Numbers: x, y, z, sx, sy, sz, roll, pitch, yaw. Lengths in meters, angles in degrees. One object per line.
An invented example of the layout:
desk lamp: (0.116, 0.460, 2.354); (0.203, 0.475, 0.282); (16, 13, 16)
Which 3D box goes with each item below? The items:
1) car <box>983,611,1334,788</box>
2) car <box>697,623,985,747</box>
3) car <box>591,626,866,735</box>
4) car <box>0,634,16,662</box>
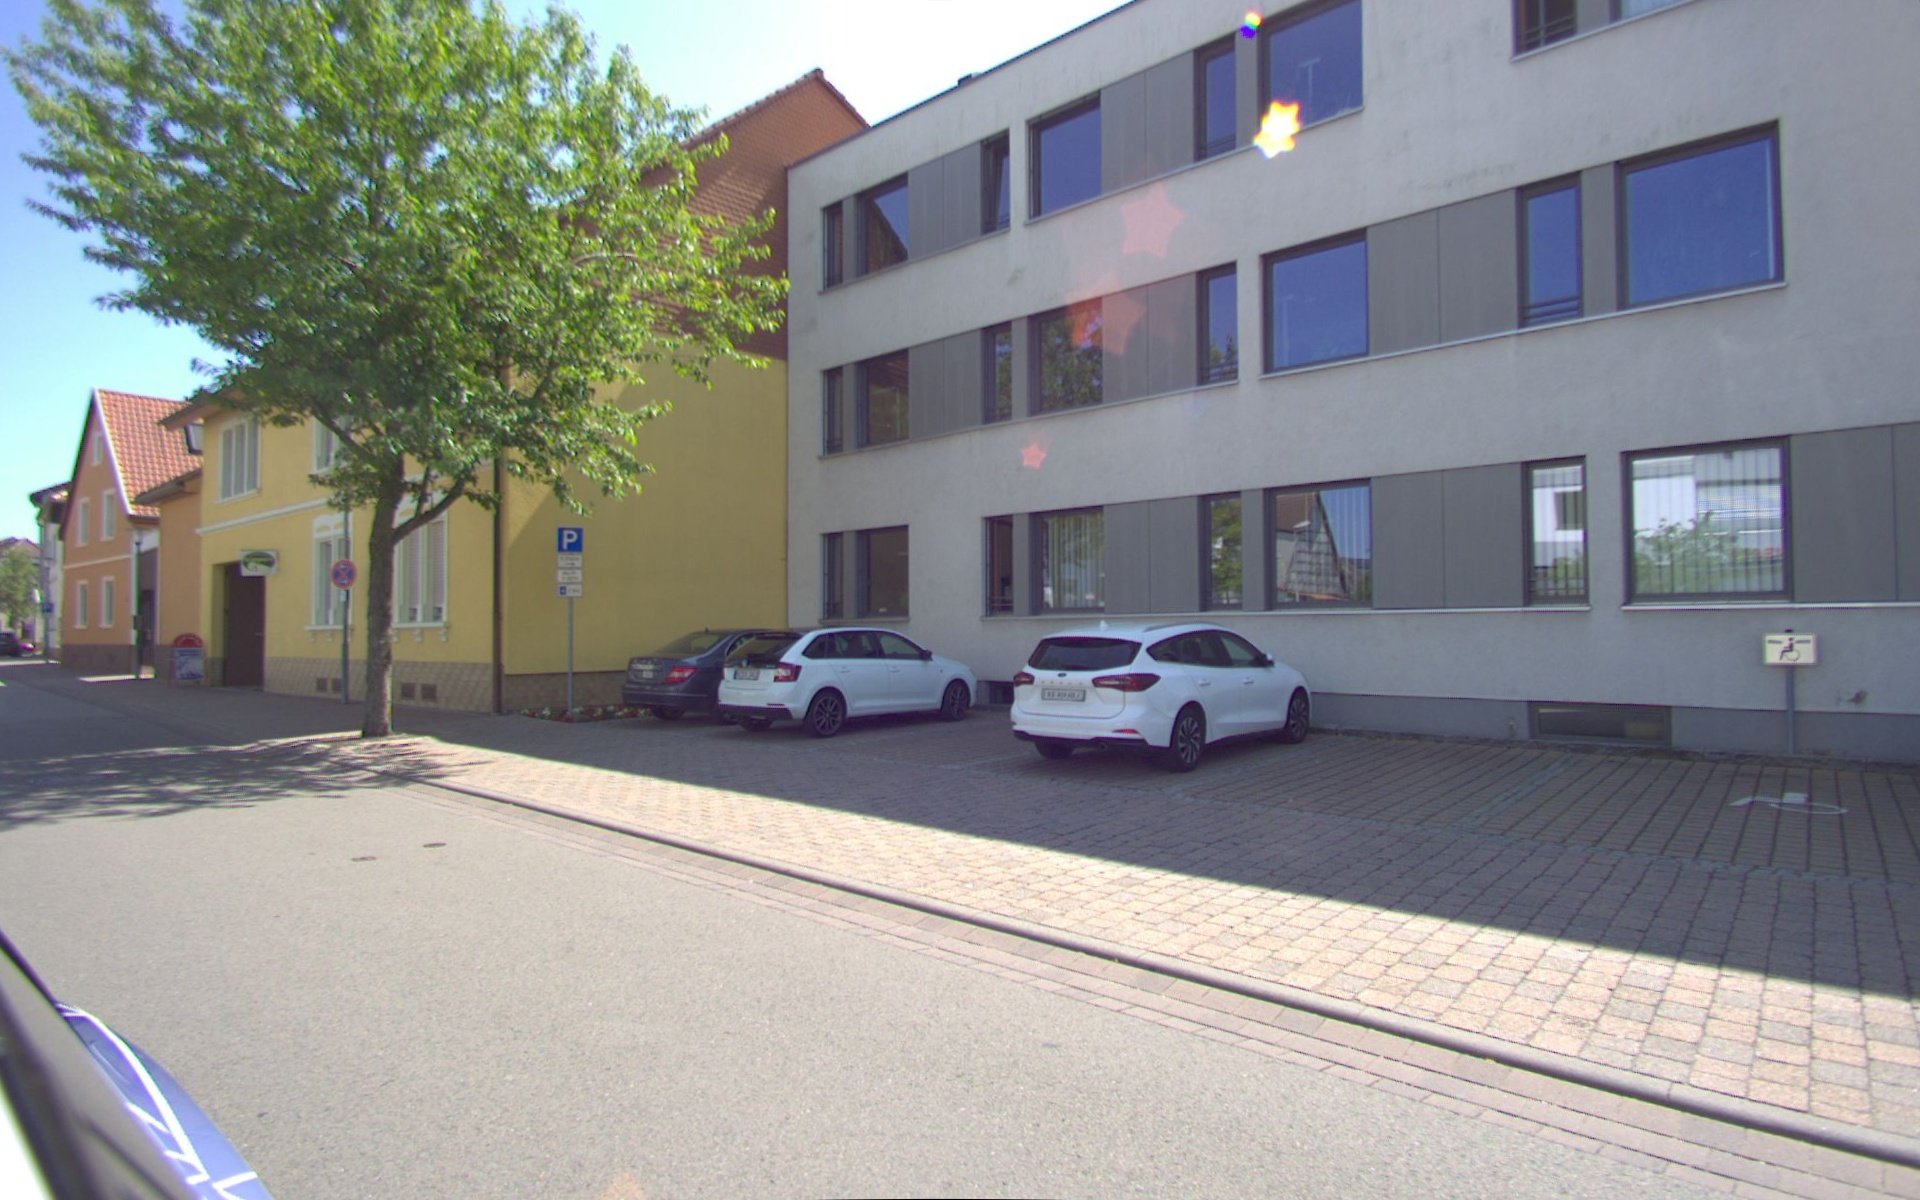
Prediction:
car: (2.422, 0.919, 11.431); (1.934, 1.566, 4.456); (-1, -1, 41)
car: (-1.571, 1.106, 14.526); (1.806, 1.462, 3.947); (-3, -2, 40)
car: (-3.578, 1.192, 16.207); (1.969, 1.442, 3.949); (-3, -2, 37)
car: (-57.879, 2.870, 60.628); (1.836, 1.642, 4.052); (2, -3, -42)
